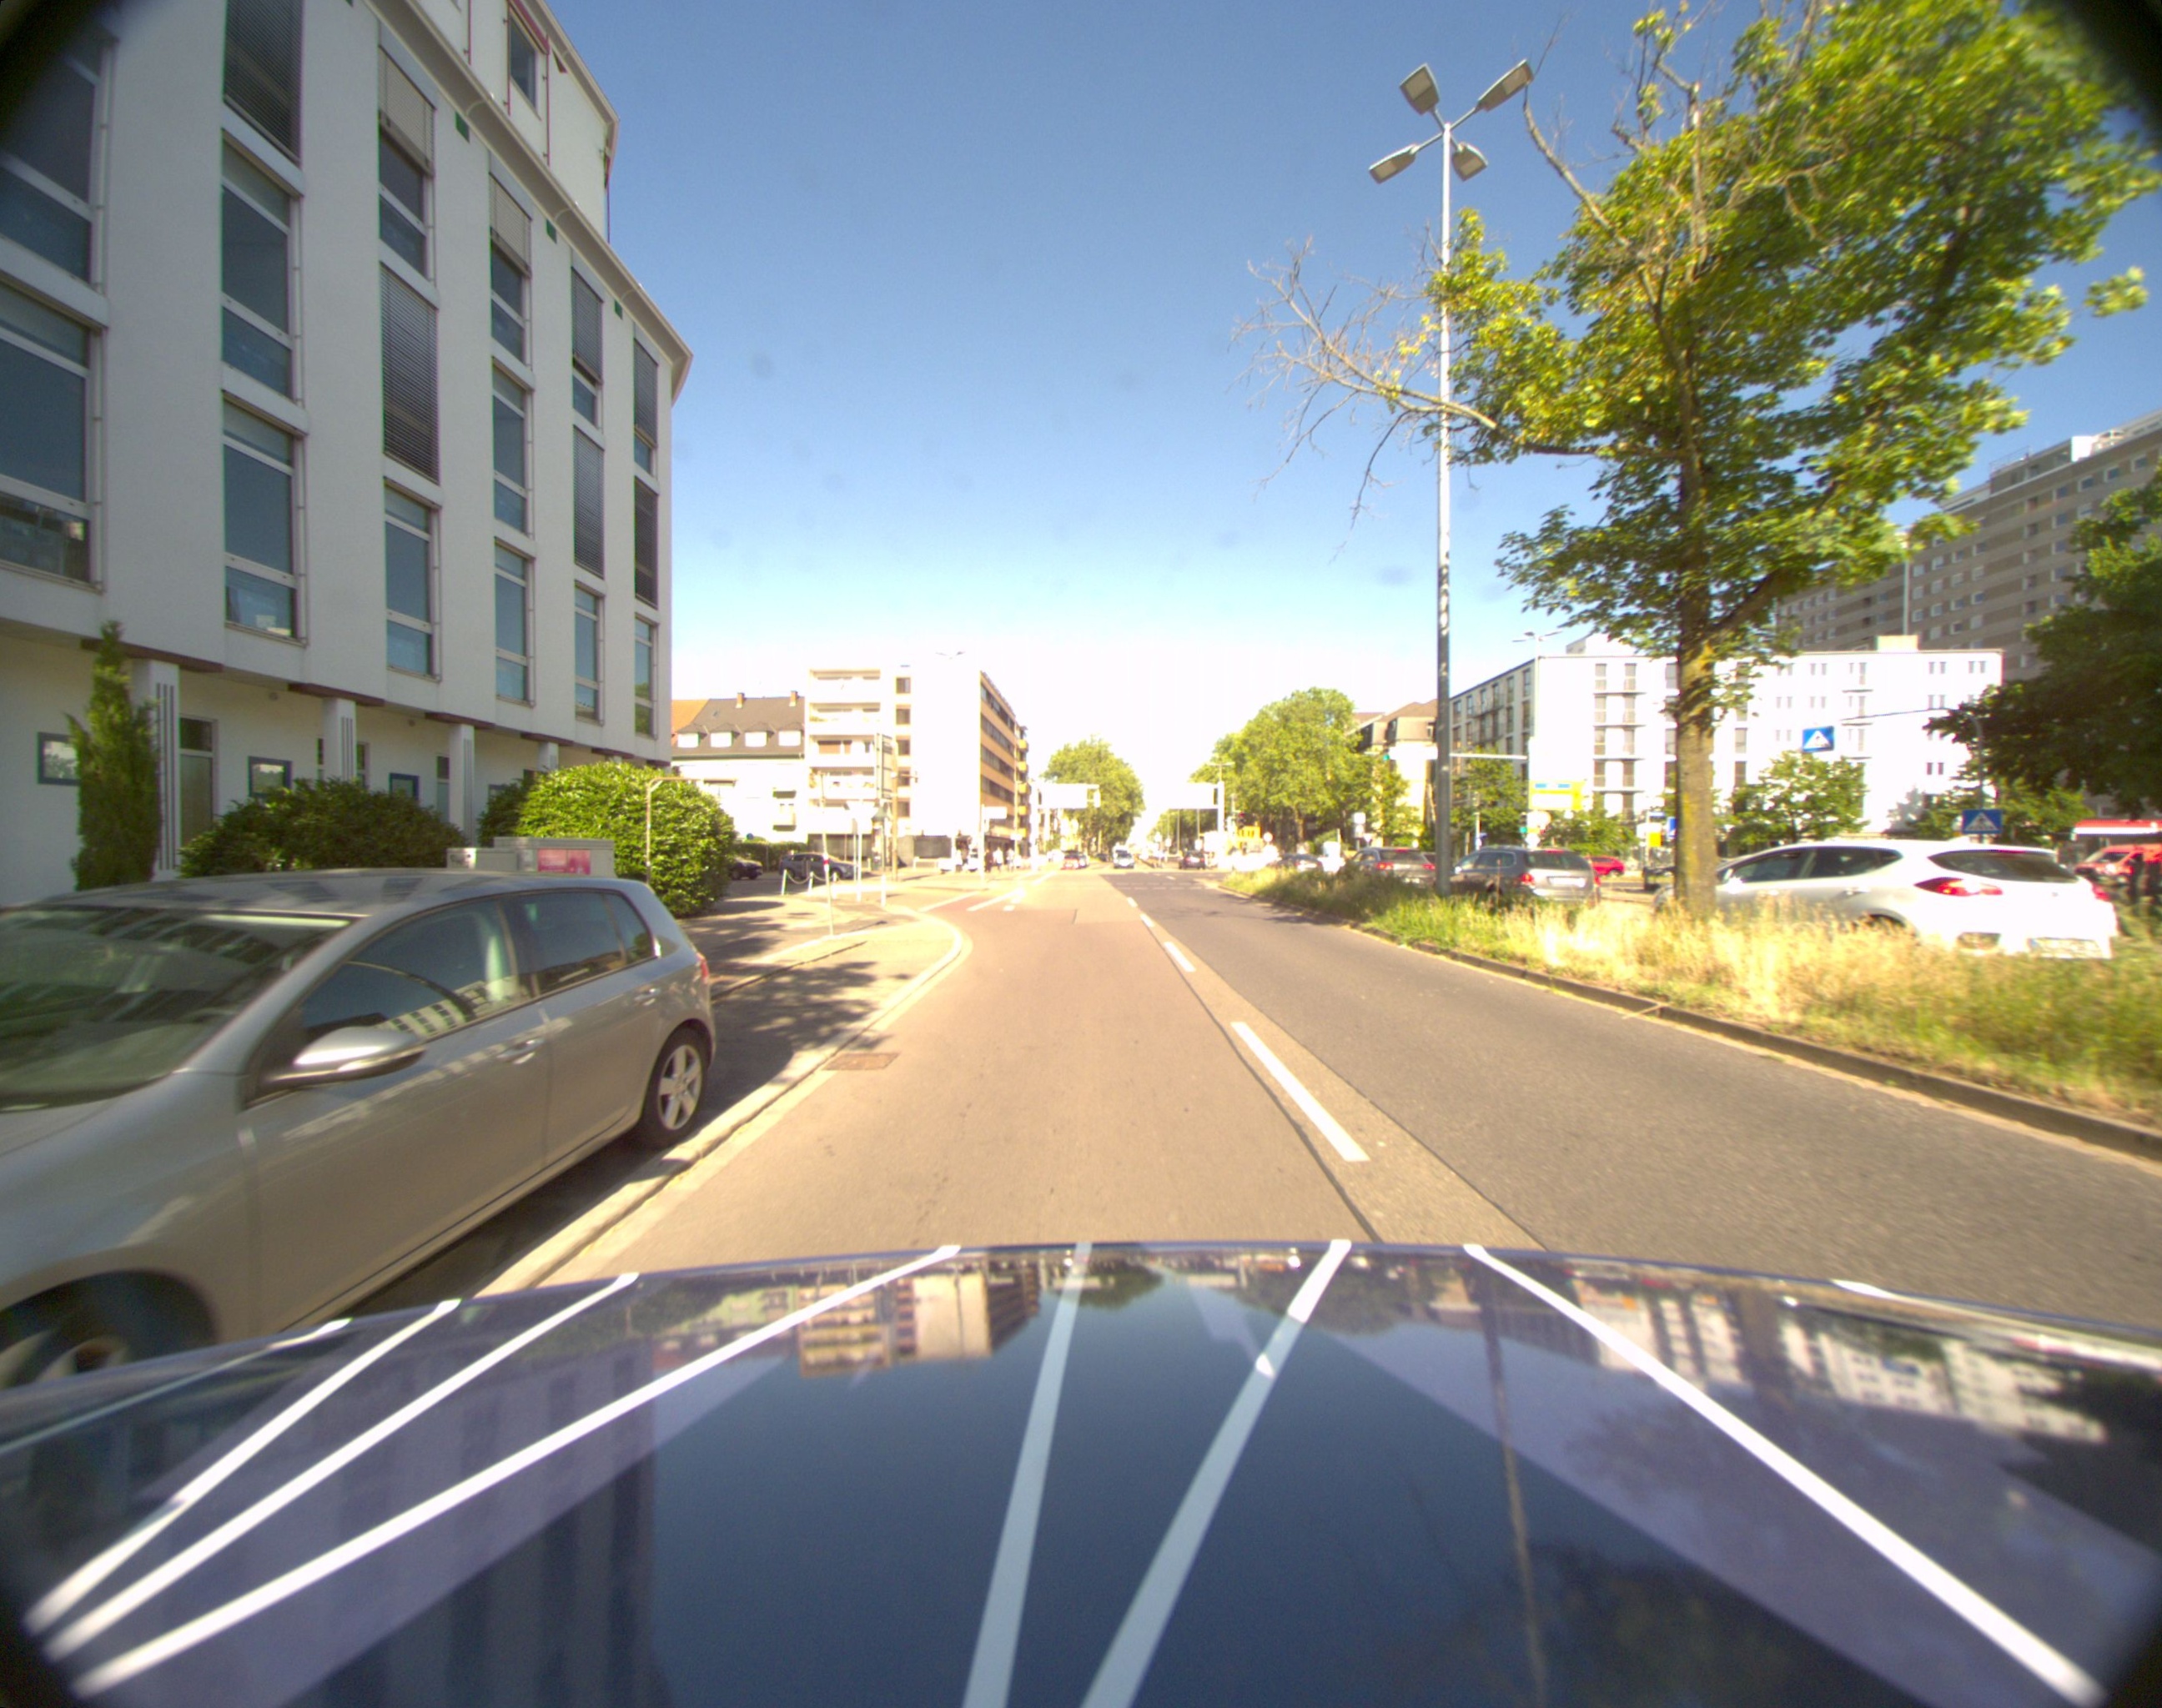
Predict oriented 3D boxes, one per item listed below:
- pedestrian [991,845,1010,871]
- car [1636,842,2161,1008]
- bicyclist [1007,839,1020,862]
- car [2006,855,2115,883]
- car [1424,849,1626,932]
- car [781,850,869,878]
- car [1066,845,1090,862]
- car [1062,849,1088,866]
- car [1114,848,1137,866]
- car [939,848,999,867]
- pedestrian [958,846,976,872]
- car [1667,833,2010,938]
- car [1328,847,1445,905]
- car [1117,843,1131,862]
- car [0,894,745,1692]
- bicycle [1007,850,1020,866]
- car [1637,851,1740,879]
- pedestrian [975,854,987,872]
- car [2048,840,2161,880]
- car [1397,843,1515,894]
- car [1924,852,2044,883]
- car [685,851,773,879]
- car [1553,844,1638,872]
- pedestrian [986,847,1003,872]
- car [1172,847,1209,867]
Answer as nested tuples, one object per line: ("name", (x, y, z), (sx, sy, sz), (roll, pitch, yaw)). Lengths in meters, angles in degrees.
("pedestrian", (-5.169, 0.259, 48.714), (0.788, 1.599, 0.927), (-4, 5, -33))
("car", (9.013, 0.626, 9.012), (1.800, 1.510, 4.204), (0, 1, 0))
("bicyclist", (-4.728, -0.252, 53.118), (0.870, 1.525, 0.852), (-1, 2, -6))
("car", (61.969, 0.932, 48.132), (3.994, 1.609, 1.919), (-1, 4, 7))
("car", (9.258, 0.672, 16.339), (1.800, 1.510, 4.363), (-1, 0, 0))
("car", (-13.864, 0.535, 41.222), (4.052, 1.400, 1.885), (-1, 1, 7))
("car", (-0.274, -0.052, 78.445), (1.882, 1.511, 4.000), (-1, 3, 8))
("car", (-0.506, 0.323, 70.581), (1.882, 1.510, 4.002), (-1, 1, 8))
("car", (4.259, 0.256, 72.167), (1.882, 1.511, 4.000), (-1, 3, 8))
("car", (-9.147, 0.285, 62.124), (4.559, 1.510, 1.879), (0, -1, -43))
("pedestrian", (-7.408, 0.295, 49.386), (0.798, 1.635, 0.982), (-4, 5, -33))
("car", (12.483, 0.429, 12.988), (1.800, 1.510, 4.079), (0, 1, 0))
("car", (9.109, 0.577, 23.068), (1.800, 1.510, 4.346), (-1, 1, 0))
("car", (5.764, -0.243, 102.606), (1.883, 2.498, 4.451), (0, 1, 3))
("car", (-2.895, 0.924, 2.518), (1.642, 1.439, 4.156), (0, -1, 1))
("bicycle", (-4.731, 0.295, 53.331), (0.867, 0.985, 1.900), (-2, 4, -6))
("car", (38.066, 0.694, 47.739), (4.704, 1.609, 1.919), (-1, 4, 10))
("pedestrian", (-6.764, 0.604, 51.489), (0.647, 1.196, 0.526), (0, 4, 11))
("car", (61.659, 0.340, 44.804), (5.891, 2.219, 1.919), (-1, 4, 9))
("car", (12.288, 0.409, 25.249), (1.800, 1.510, 4.346), (-1, 1, 0))
("car", (54.396, 0.799, 45.844), (4.706, 1.609, 1.918), (-1, 4, 3))
("car", (-19.369, 0.594, 41.858), (4.069, 1.483, 1.697), (-1, 2, 7))
("car", (32.356, 0.257, 47.887), (3.994, 1.609, 1.919), (-1, 4, 10))
("pedestrian", (-5.839, 0.348, 51.109), (0.897, 1.614, 0.721), (0, 4, 11))
("car", (9.045, 0.230, 63.110), (1.863, 1.576, 4.274), (0, 1, -9))
